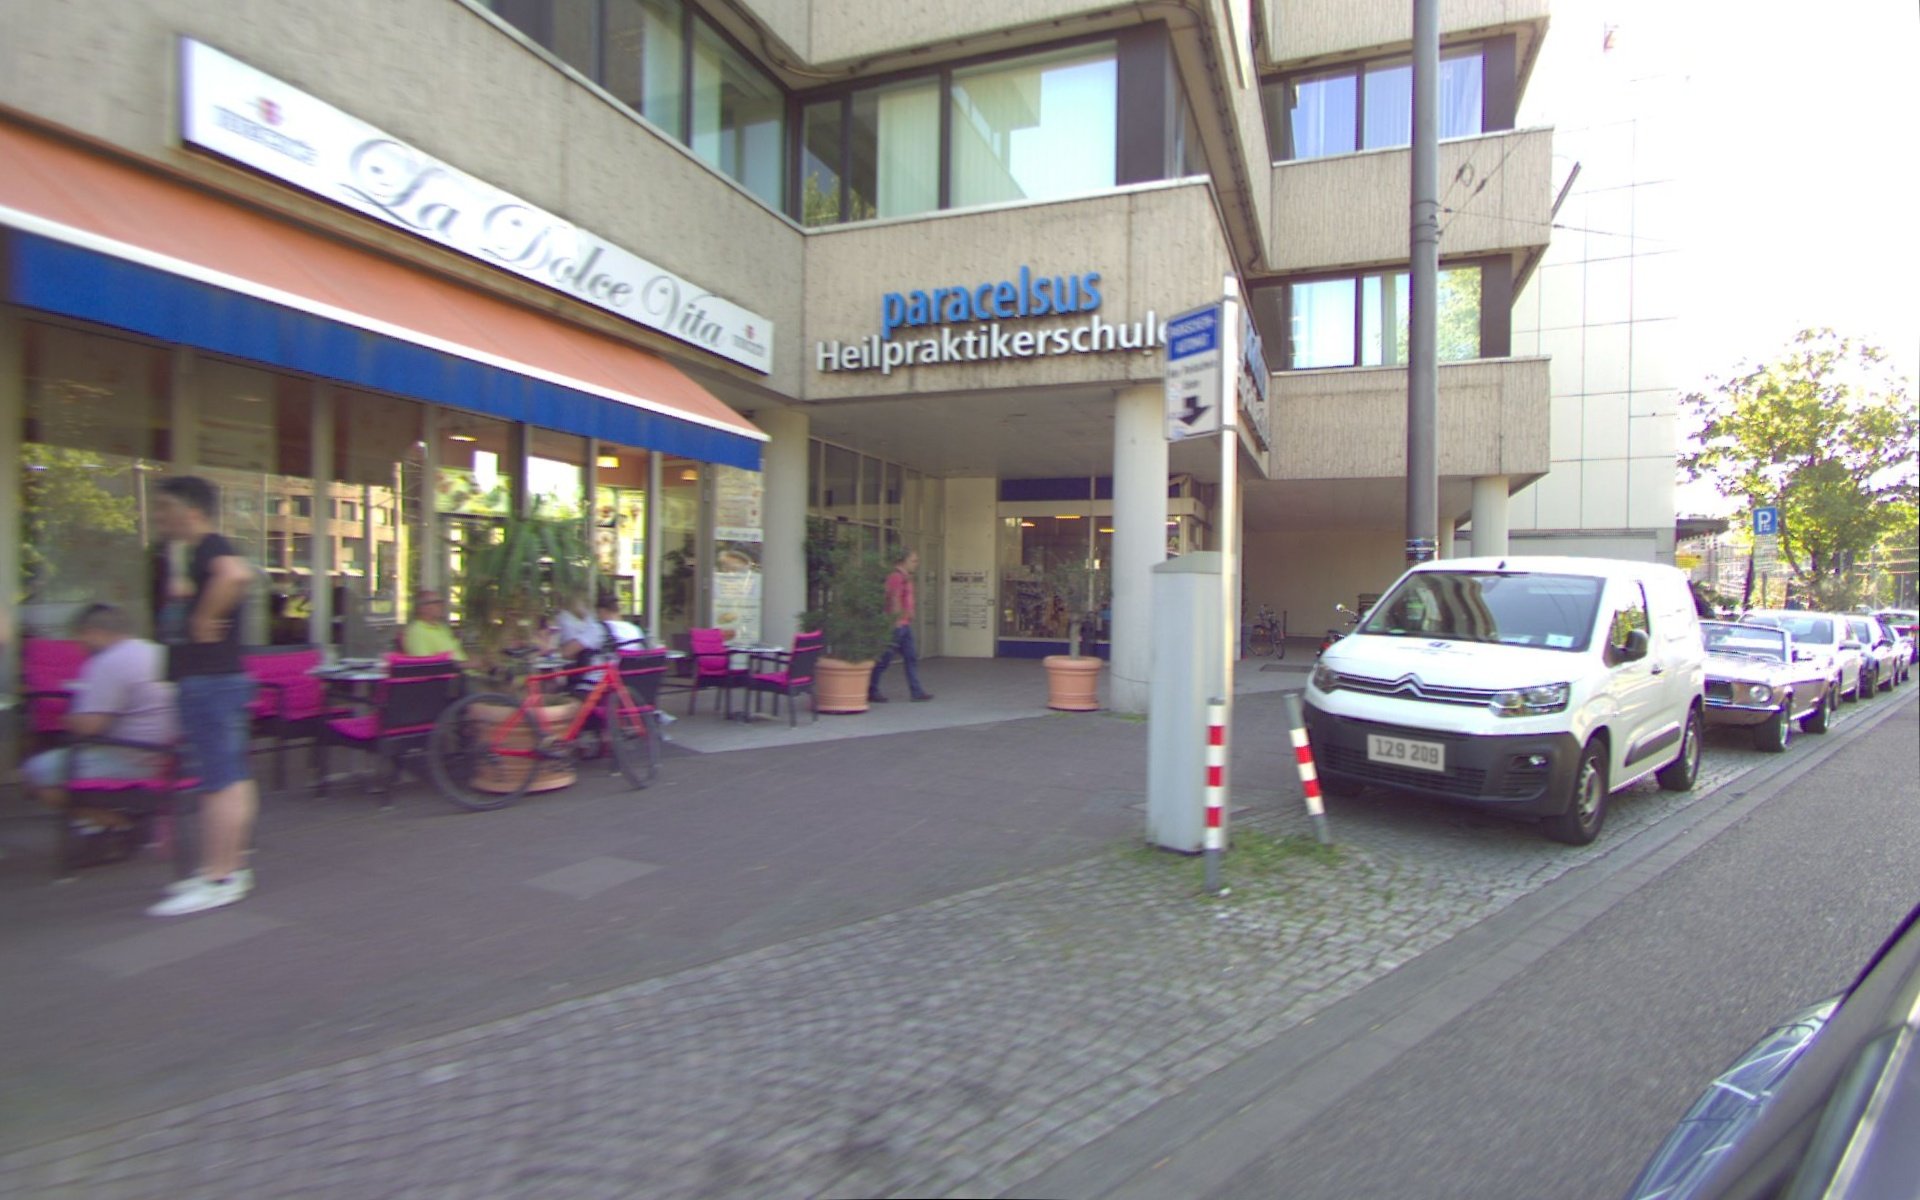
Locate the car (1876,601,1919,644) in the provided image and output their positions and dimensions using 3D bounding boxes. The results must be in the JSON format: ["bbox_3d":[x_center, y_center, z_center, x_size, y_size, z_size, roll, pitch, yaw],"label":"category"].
[{"bbox_3d":[34.707,0.796,36.856,1.766,1.456,4.509,2,1,45],"label":"car"}]

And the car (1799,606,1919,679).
[{"bbox_3d":[20.243,0.861,22.389,4.519,1.361,1.854,-1,0,-41],"label":"car"}]

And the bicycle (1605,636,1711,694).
[{"bbox_3d":[15.664,1.440,22.722,1.923,1.200,0.823,-1,0,-11],"label":"bicycle"}]

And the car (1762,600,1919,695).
[{"bbox_3d":[16.782,0.815,19.202,4.126,1.537,1.674,-1,0,-41],"label":"car"}]

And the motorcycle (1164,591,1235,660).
[{"bbox_3d":[4.338,0.451,18.235,0.509,1.183,2.074,-1,-1,35],"label":"motorcycle"}]

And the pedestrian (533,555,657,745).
[{"bbox_3d":[-3.227,0.423,8.960,0.662,1.576,0.830,-2,-2,44],"label":"pedestrian"}]

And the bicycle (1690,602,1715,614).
[{"bbox_3d":[70.105,0.741,95.530,1.797,1.096,0.527,-1,0,21],"label":"bicycle"}]

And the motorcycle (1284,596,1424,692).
[{"bbox_3d":[5.470,0.570,14.018,2.008,1.169,0.767,-1,3,-33],"label":"motorcycle"}]

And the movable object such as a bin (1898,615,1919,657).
[{"bbox_3d":[25.894,0.974,27.461,0.610,1.119,0.517,-1,0,44],"label":"movable object such as a bin"}]

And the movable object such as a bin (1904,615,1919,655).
[{"bbox_3d":[26.816,0.972,28.273,0.606,1.082,0.604,-1,0,44],"label":"movable object such as a bin"}]

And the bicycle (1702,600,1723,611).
[{"bbox_3d":[68.899,0.508,92.694,1.419,1.024,0.407,2,1,25],"label":"bicycle"}]

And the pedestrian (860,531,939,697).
[{"bbox_3d":[-0.687,0.160,11.650,0.706,1.839,0.702,-1,0,14],"label":"pedestrian"}]

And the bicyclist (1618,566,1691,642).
[{"bbox_3d":[15.576,0.092,22.724,0.916,1.654,0.944,-1,0,-11],"label":"bicyclist"}]

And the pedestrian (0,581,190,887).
[{"bbox_3d":[-3.929,0.550,4.636,0.613,1.251,0.631,-1,3,-39],"label":"pedestrian"}]

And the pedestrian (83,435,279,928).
[{"bbox_3d":[-3.291,0.296,4.291,0.599,1.878,0.672,-1,3,-39],"label":"pedestrian"}]

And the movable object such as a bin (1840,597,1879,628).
[{"bbox_3d":[40.711,0.564,45.828,1.279,1.409,0.908,-1,0,41],"label":"movable object such as a bin"}]

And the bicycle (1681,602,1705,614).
[{"bbox_3d":[71.505,0.794,98.784,1.800,1.082,0.413,2,2,19],"label":"bicycle"}]

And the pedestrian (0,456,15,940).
[{"bbox_3d":[-3.830,0.339,3.558,0.685,1.736,0.584,-1,0,-40],"label":"pedestrian"}]

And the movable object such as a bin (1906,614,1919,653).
[{"bbox_3d":[27.653,0.958,29.126,0.619,1.082,0.601,-1,0,44],"label":"movable object such as a bin"}]

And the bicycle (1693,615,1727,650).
[{"bbox_3d":[21.518,0.925,29.016,0.534,0.903,2.038,-1,0,43],"label":"bicycle"}]

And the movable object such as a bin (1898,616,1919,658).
[{"bbox_3d":[25.483,0.988,27.045,0.592,1.097,0.595,-1,0,44],"label":"movable object such as a bin"}]

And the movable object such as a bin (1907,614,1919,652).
[{"bbox_3d":[28.087,0.965,29.575,0.573,1.096,0.561,-1,0,44],"label":"movable object such as a bin"}]

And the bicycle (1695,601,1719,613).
[{"bbox_3d":[69.640,0.683,94.310,1.736,1.090,0.403,-1,0,22],"label":"bicycle"}]

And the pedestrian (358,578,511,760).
[{"bbox_3d":[-3.869,0.486,7.481,0.752,1.263,0.677,-1,-1,18],"label":"pedestrian"}]

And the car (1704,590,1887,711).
[{"bbox_3d":[13.809,0.728,16.650,3.803,1.710,1.853,-1,0,-43],"label":"car"}]

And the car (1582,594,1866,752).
[{"bbox_3d":[9.283,0.720,12.138,4.648,1.472,1.777,-1,0,-41],"label":"car"}]

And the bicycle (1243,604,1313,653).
[{"bbox_3d":[6.714,0.585,21.461,0.668,0.993,1.860,0,-1,-8],"label":"bicycle"}]

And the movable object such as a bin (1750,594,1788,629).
[{"bbox_3d":[41.451,0.570,51.876,1.245,1.730,0.938,1,1,23],"label":"movable object such as a bin"}]

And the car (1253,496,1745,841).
[{"bbox_3d":[4.220,0.334,7.591,4.238,1.835,1.995,-1,0,-43],"label":"car"}]

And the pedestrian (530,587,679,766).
[{"bbox_3d":[-2.592,0.523,7.393,0.662,1.213,0.830,-2,-2,44],"label":"pedestrian"}]

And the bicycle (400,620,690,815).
[{"bbox_3d":[-2.610,0.680,6.478,1.616,1.047,0.563,-1,0,-42],"label":"bicycle"}]

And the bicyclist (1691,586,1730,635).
[{"bbox_3d":[21.509,0.293,29.002,0.758,1.343,0.979,-1,0,43],"label":"bicyclist"}]
